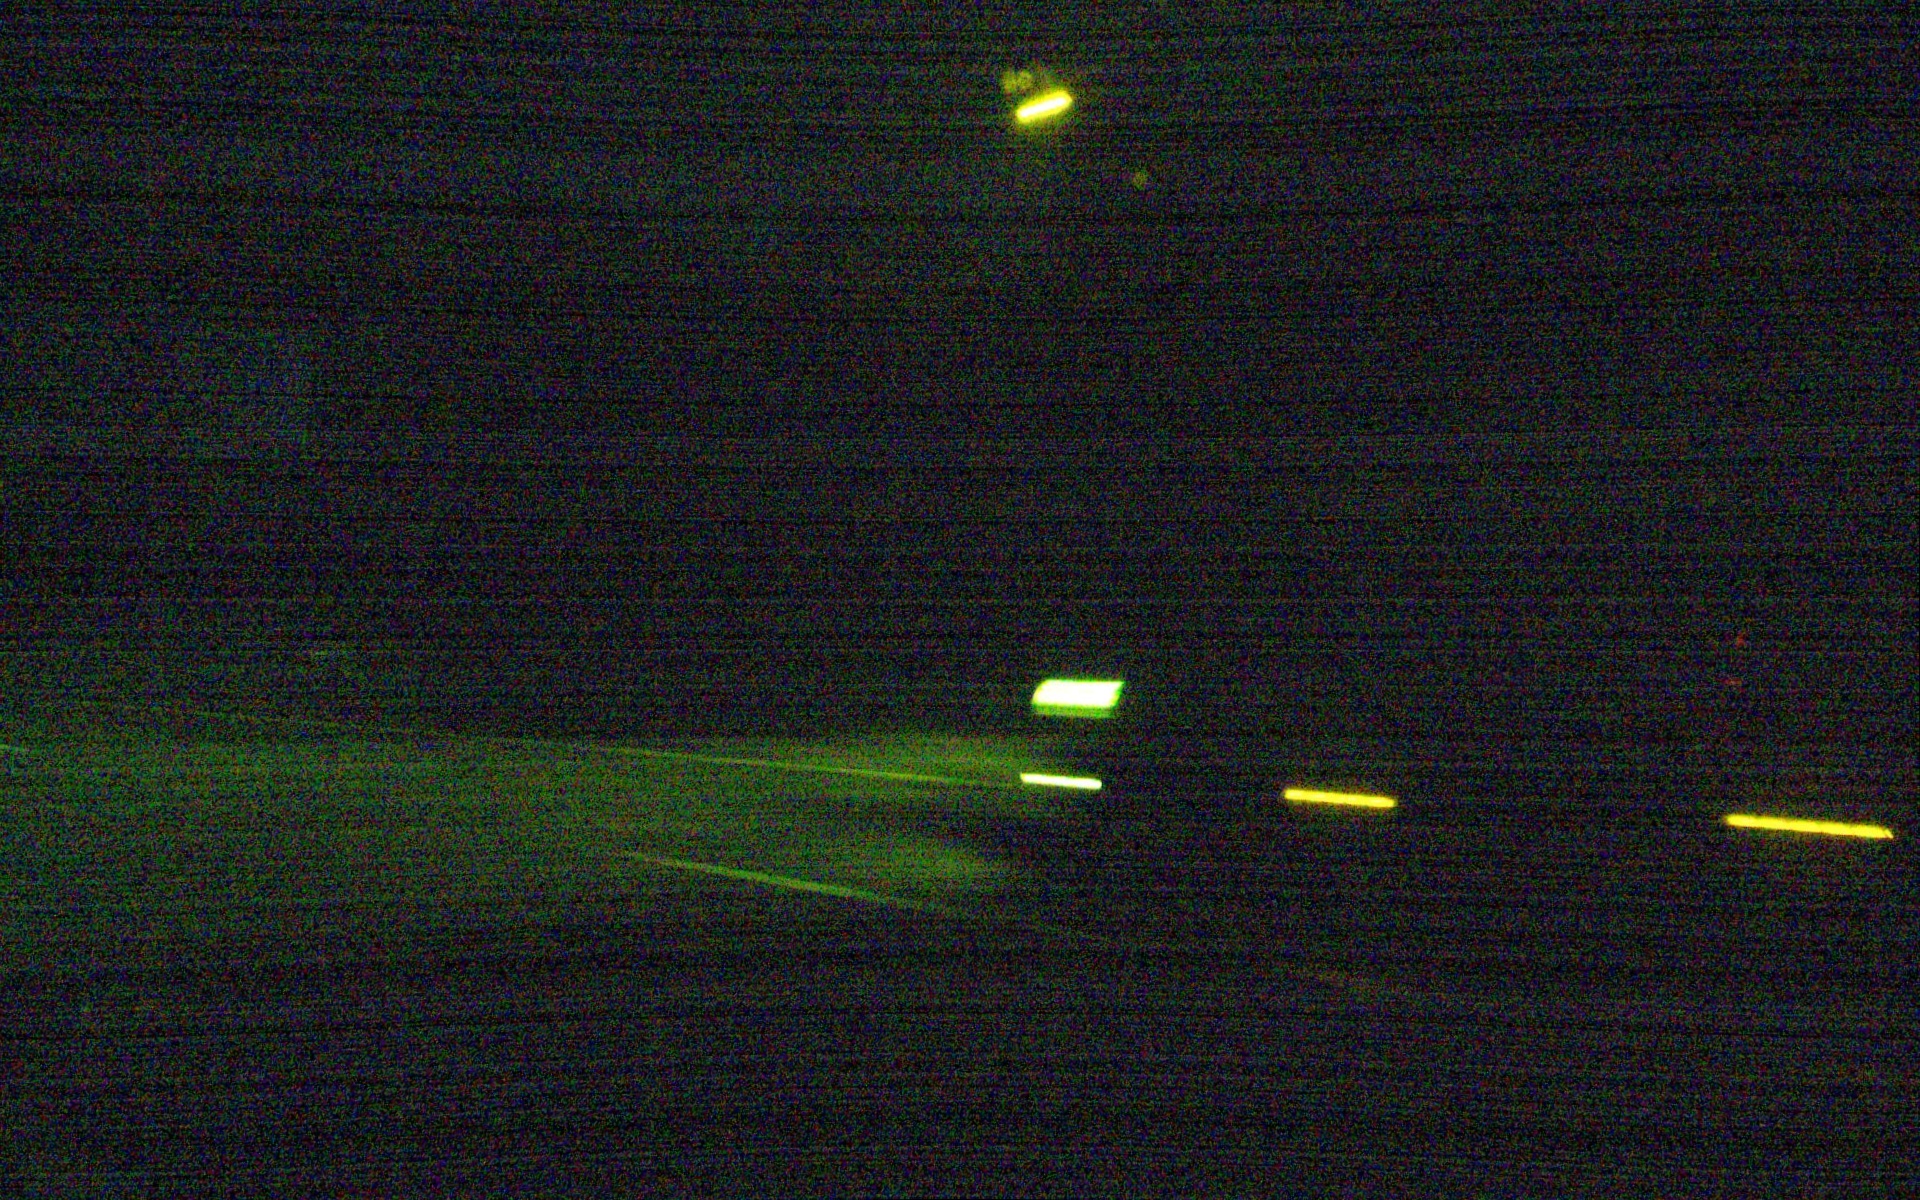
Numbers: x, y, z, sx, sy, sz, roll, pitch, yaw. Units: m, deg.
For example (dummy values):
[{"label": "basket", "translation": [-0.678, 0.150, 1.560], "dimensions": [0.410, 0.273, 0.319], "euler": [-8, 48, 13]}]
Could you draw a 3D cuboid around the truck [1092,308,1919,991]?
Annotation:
[{"label": "truck", "translation": [4.370, 0.229, 4.883], "dimensions": [7.204, 2.725, 2.073], "euler": [-1, -2, 32]}]
